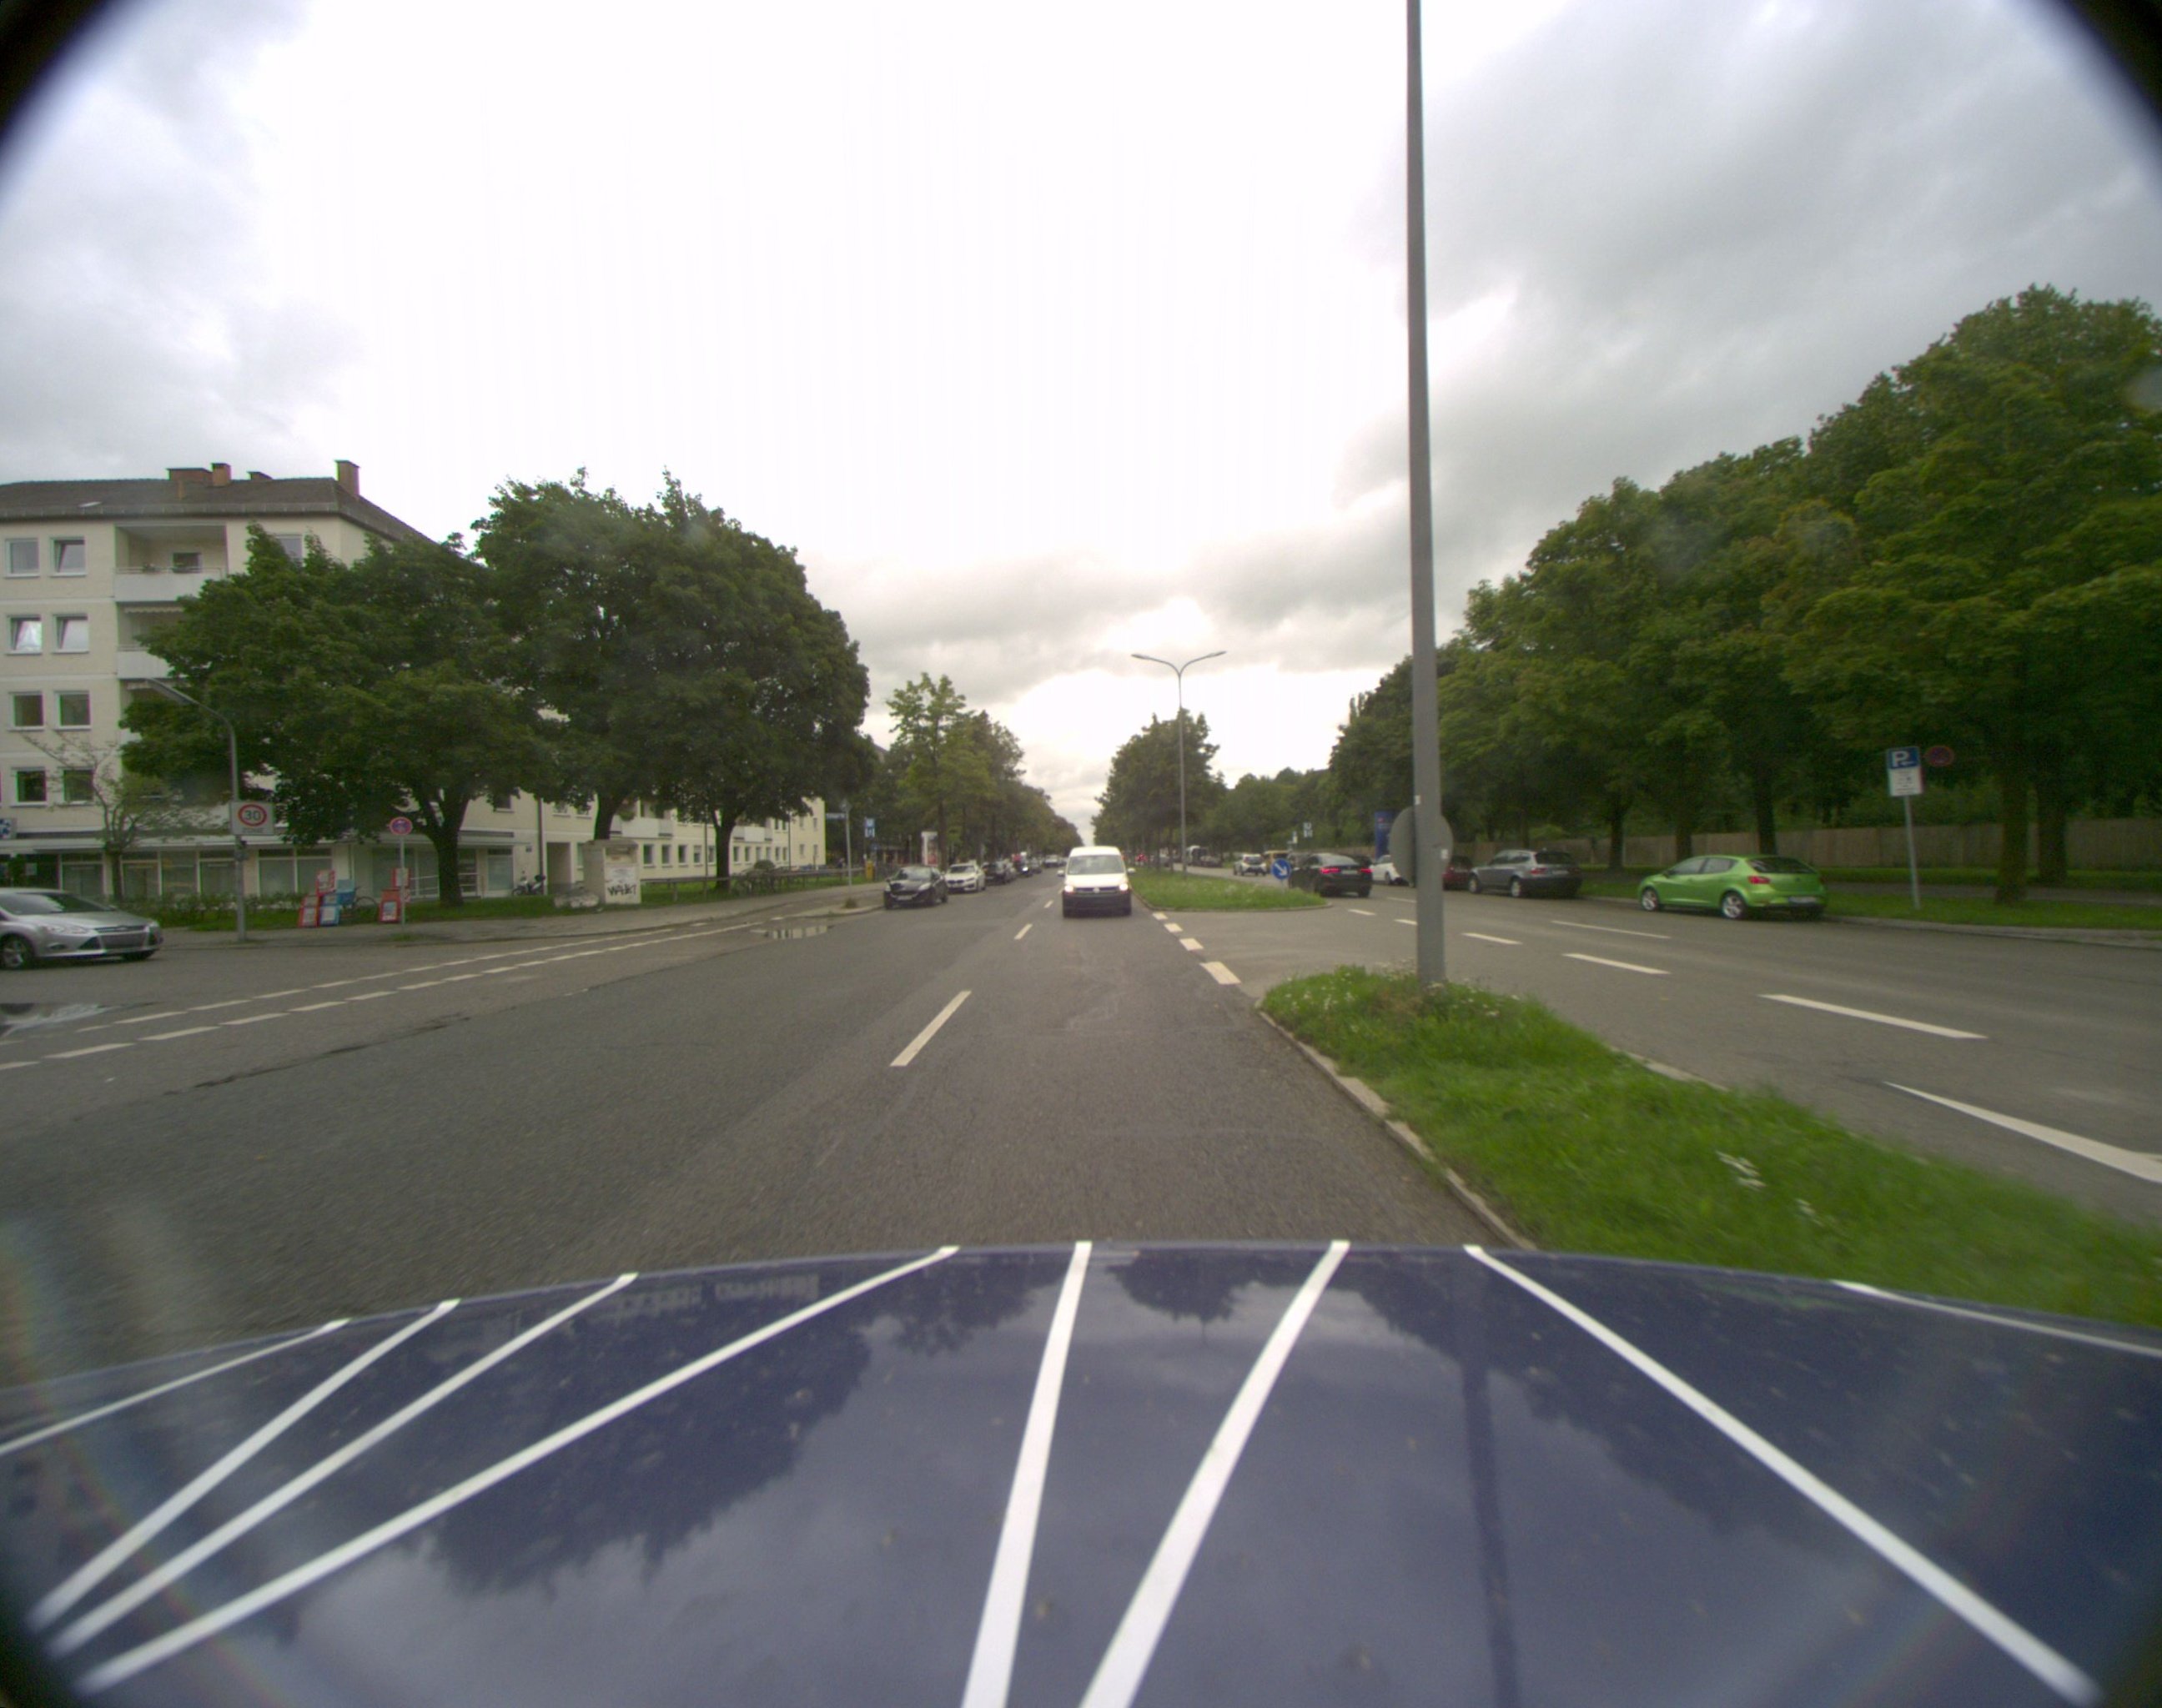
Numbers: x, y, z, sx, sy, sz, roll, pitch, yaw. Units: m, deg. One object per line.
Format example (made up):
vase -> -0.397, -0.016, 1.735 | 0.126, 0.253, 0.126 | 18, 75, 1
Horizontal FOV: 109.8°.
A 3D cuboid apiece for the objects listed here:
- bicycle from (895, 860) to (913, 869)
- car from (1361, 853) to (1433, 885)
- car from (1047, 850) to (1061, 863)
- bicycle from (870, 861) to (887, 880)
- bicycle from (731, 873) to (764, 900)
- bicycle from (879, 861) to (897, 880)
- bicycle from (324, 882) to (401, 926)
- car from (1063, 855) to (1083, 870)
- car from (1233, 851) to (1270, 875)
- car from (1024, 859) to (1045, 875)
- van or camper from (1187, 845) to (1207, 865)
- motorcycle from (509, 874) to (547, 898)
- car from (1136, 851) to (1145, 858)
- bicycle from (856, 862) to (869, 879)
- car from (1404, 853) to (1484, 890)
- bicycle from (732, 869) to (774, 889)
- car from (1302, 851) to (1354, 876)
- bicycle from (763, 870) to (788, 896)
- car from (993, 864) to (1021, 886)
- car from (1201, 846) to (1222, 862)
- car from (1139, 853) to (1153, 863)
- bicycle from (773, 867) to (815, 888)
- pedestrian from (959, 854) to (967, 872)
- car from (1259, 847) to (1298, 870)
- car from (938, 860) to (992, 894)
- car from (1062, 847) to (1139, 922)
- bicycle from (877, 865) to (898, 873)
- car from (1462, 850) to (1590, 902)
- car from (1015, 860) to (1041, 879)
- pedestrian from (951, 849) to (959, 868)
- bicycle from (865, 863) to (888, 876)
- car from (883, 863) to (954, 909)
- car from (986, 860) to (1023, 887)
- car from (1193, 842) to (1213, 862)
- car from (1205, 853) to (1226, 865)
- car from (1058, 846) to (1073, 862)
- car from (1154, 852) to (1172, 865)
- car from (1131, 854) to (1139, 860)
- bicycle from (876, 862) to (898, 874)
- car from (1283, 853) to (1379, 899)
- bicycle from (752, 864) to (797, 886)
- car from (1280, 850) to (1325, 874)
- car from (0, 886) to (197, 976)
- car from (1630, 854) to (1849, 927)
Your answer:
bicycle -> -15.133, 0.877, 65.061 | 1.392, 0.709, 0.498 | 1, 0, -3
car -> 15.204, 0.682, 36.816 | 1.826, 1.468, 4.260 | 1, 0, 2
car -> -4.106, 0.335, 116.397 | 1.827, 1.939, 4.300 | -2, 0, 1
bicycle -> -13.792, 1.107, 51.757 | 0.545, 1.182, 2.076 | -2, 0, 2
bicycle -> -13.435, 1.300, 30.673 | 0.448, 1.009, 1.853 | -2, 0, 2
bicycle -> -12.903, 1.079, 50.880 | 0.545, 1.182, 2.076 | -2, 0, 2
bicycle -> -20.541, 1.423, 21.743 | 1.473, 1.149, 0.699 | -2, 1, -1
car -> -0.837, 0.923, 82.919 | 1.984, 1.591, 4.402 | 1, 0, 1
car -> 11.963, 0.602, 53.529 | 1.826, 1.544, 3.721 | -2, 0, 2
car -> -4.780, 1.292, 78.449 | 1.827, 1.460, 4.300 | -2, 0, 1
van or camper -> 16.634, 0.145, 109.414 | 1.999, 2.791, 4.931 | 0, 0, -1
motorcycle -> -27.769, 1.619, 38.177 | 0.606, 1.113, 1.622 | -2, 0, 2
car -> 13.991, 0.091, 179.739 | 1.866, 1.659, 4.500 | 1, 0, 1
bicycle -> -15.007, 1.150, 52.126 | 0.466, 1.110, 1.253 | -2, 0, 2
car -> 15.041, 0.682, 31.696 | 1.654, 1.414, 3.687 | 1, 0, 2
bicycle -> -18.397, 1.403, 42.607 | 2.032, 1.061, 0.663 | -2, 1, -3
car -> 15.488, 0.561, 47.860 | 1.826, 1.461, 4.300 | 0, 0, -1
bicycle -> -13.419, 1.254, 33.451 | 0.470, 1.049, 1.767 | 1, 1, -3
car -> -5.273, 1.466, 54.415 | 1.617, 1.371, 3.926 | -2, 0, 0
car -> 16.583, 0.003, 96.798 | 1.998, 2.002, 4.000 | -2, 0, 1
car -> 9.157, 0.550, 107.464 | 1.722, 1.374, 3.767 | 1, 0, 1
bicycle -> -16.063, 1.303, 42.560 | 2.032, 1.061, 0.663 | -2, 1, -3
pedestrian -> -10.806, 0.803, 69.652 | 0.560, 1.595, 0.520 | -2, 1, -18
car -> 15.620, 0.358, 60.216 | 1.862, 1.761, 4.533 | 0, 0, -1
car -> -5.721, 1.107, 37.999 | 1.826, 1.428, 4.287 | -3, 0, 1
car -> 0.504, 0.737, 20.830 | 1.772, 1.742, 4.546 | -3, 0, 1
bicycle -> -16.224, 1.269, 63.641 | 1.599, 0.634, 0.498 | 0, 0, -3
car -> 14.984, 0.674, 25.901 | 1.826, 1.621, 4.456 | 0, 0, 1
car -> -4.432, 1.286, 64.251 | 1.827, 1.371, 4.300 | -2, 0, 0
pedestrian -> -11.509, 0.425, 69.603 | 0.560, 1.745, 0.656 | -2, 1, -18
bicycle -> -15.606, 1.190, 57.999 | 1.599, 0.910, 0.498 | -2, 1, -3
car -> -5.764, 1.089, 27.368 | 1.648, 1.468, 3.956 | -2, 0, 0
car -> -4.781, 1.190, 47.912 | 1.826, 1.502, 4.157 | -2, 0, 1
car -> 16.690, -0.264, 104.334 | 1.999, 2.576, 4.499 | 0, 0, -1
car -> 16.275, 0.611, 92.031 | 1.717, 1.401, 4.041 | 0, 0, -1
car -> -2.315, -0.046, 117.148 | 1.998, 2.440, 5.000 | -2, 0, 2
car -> 9.995, 0.546, 92.852 | 1.826, 1.580, 4.502 | -2, 0, 1
car -> 14.298, 0.730, 202.155 | 1.866, 1.447, 4.500 | 1, 0, 1
bicycle -> -15.473, 1.112, 60.550 | 1.599, 0.910, 0.498 | 0, 1, -3
car -> 8.566, 0.699, 26.491 | 1.820, 1.440, 4.782 | -1, 0, 0
bicycle -> -15.945, 1.068, 39.528 | 2.032, 1.061, 0.663 | -2, 1, -3
car -> 15.659, 0.532, 53.947 | 2.007, 1.607, 4.041 | 0, 0, -1
car -> -19.707, 1.422, 14.196 | 4.217, 1.433, 2.001 | -2, 0, 4
car -> 14.799, 0.741, 17.424 | 1.644, 1.490, 4.000 | 0, 0, 2
